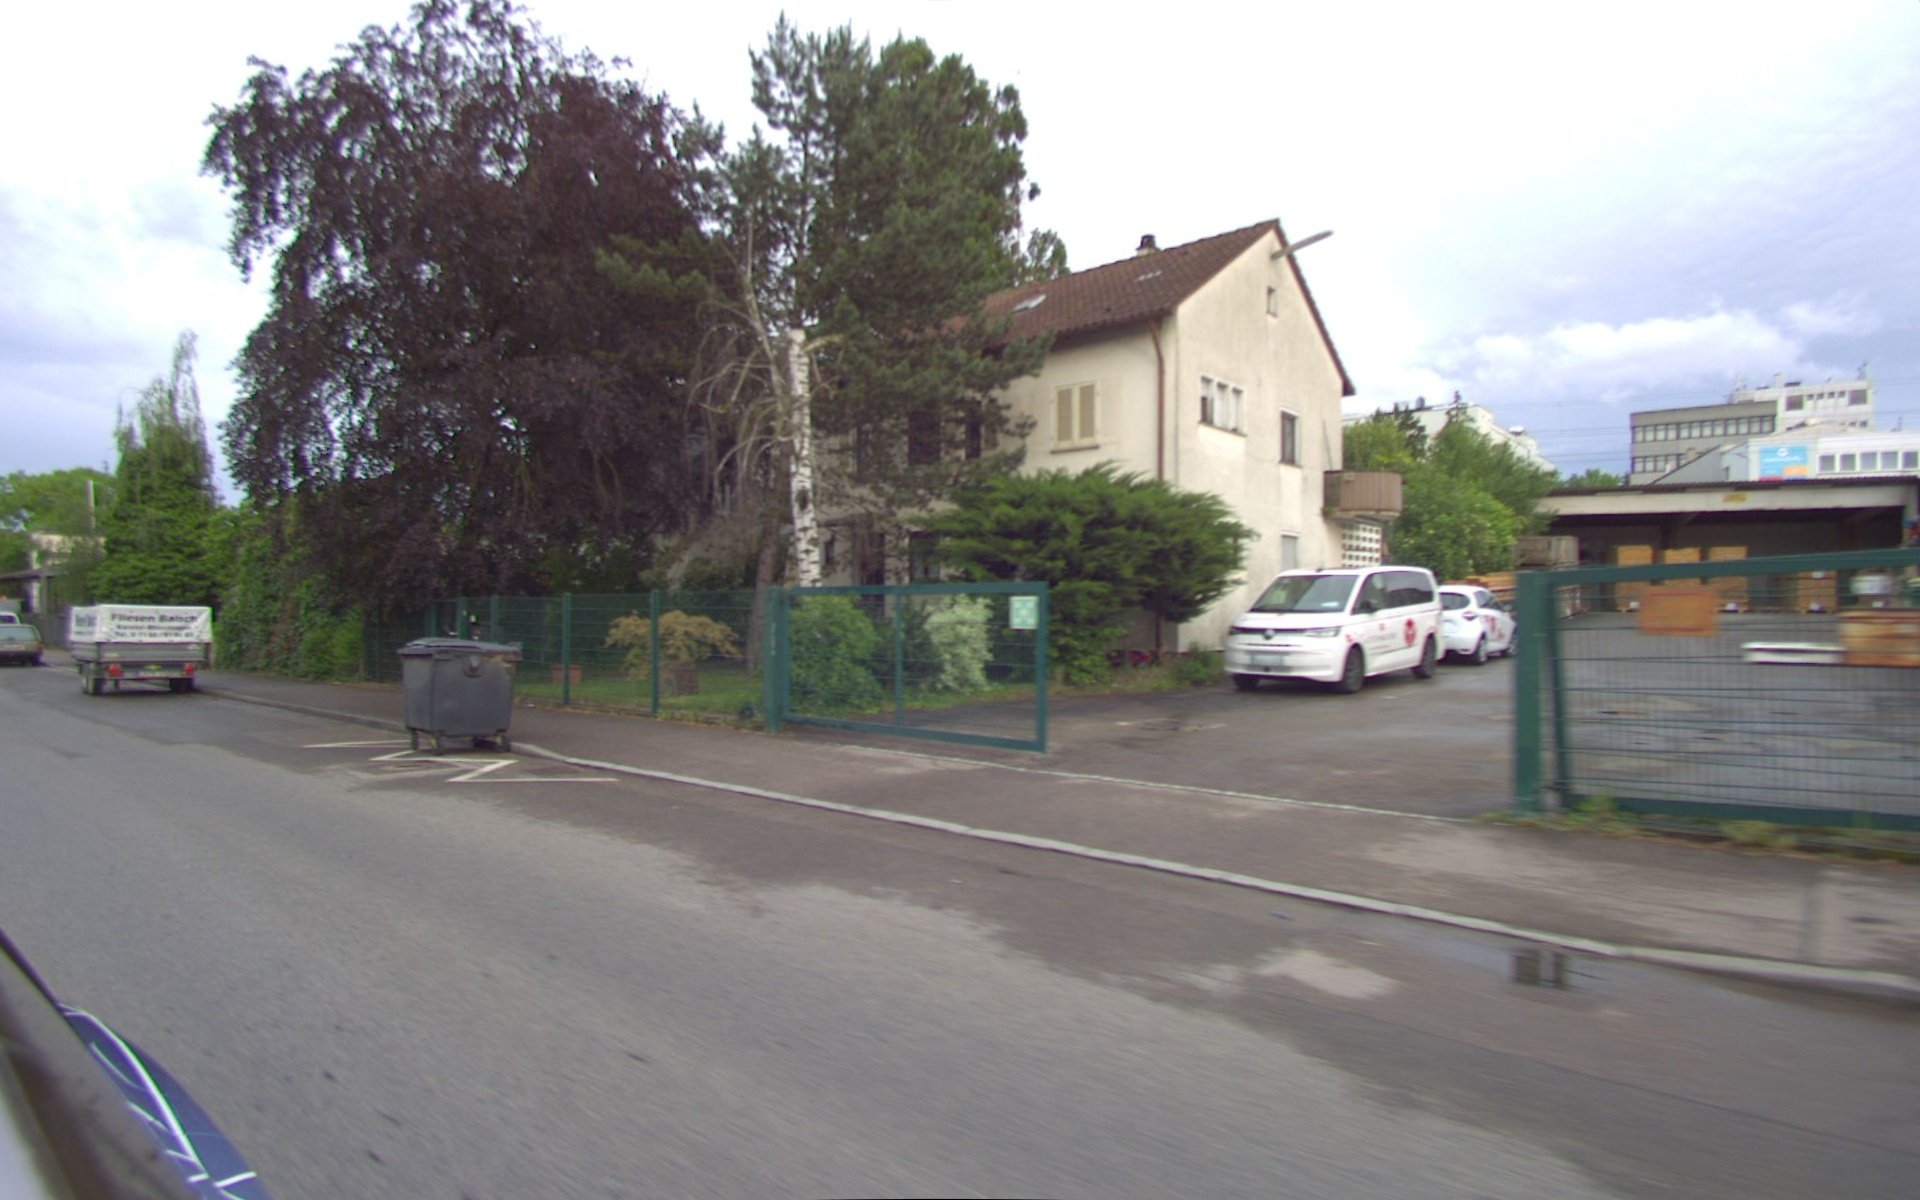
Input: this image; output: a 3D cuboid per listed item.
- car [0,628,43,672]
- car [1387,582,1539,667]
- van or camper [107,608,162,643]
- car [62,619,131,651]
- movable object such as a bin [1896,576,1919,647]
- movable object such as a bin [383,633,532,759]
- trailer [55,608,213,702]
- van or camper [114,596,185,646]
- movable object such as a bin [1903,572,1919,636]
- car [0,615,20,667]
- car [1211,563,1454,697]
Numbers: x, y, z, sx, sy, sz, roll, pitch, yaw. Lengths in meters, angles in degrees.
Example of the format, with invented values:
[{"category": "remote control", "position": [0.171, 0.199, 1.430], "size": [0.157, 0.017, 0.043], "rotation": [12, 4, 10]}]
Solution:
[{"category": "car", "position": [-33.446, 1.694, 35.149], "size": [4.979, 1.438, 1.797], "rotation": [-1, -2, 41]}, {"category": "car", "position": [10.533, 0.436, 21.062], "size": [1.785, 1.563, 3.944], "rotation": [-1, 1, 43]}, {"category": "van or camper", "position": [-48.749, 1.474, 59.736], "size": [4.373, 1.950, 1.901], "rotation": [-1, 0, 43]}, {"category": "car", "position": [-42.705, 1.700, 50.004], "size": [4.784, 1.451, 1.810], "rotation": [-1, 0, 40]}, {"category": "movable object such as a bin", "position": [20.001, 0.215, 20.453], "size": [1.485, 1.397, 1.268], "rotation": [-1, 0, 39]}, {"category": "movable object such as a bin", "position": [-5.932, 1.080, 11.938], "size": [1.424, 1.320, 1.089], "rotation": [-1, 0, 41]}, {"category": "trailer", "position": [-17.788, 1.102, 21.726], "size": [4.546, 1.779, 1.909], "rotation": [-1, 0, 41]}, {"category": "van or camper", "position": [-43.939, 1.118, 54.821], "size": [5.193, 2.509, 1.973], "rotation": [-1, 0, 40]}, {"category": "movable object such as a bin", "position": [21.694, 0.065, 22.265], "size": [1.240, 1.397, 1.312], "rotation": [-1, 0, 39]}, {"category": "car", "position": [-37.553, 1.530, 38.641], "size": [5.208, 1.906, 1.873], "rotation": [-1, -2, 41]}, {"category": "car", "position": [6.250, 0.372, 16.597], "size": [2.000, 1.871, 4.945], "rotation": [-1, 1, 43]}]
